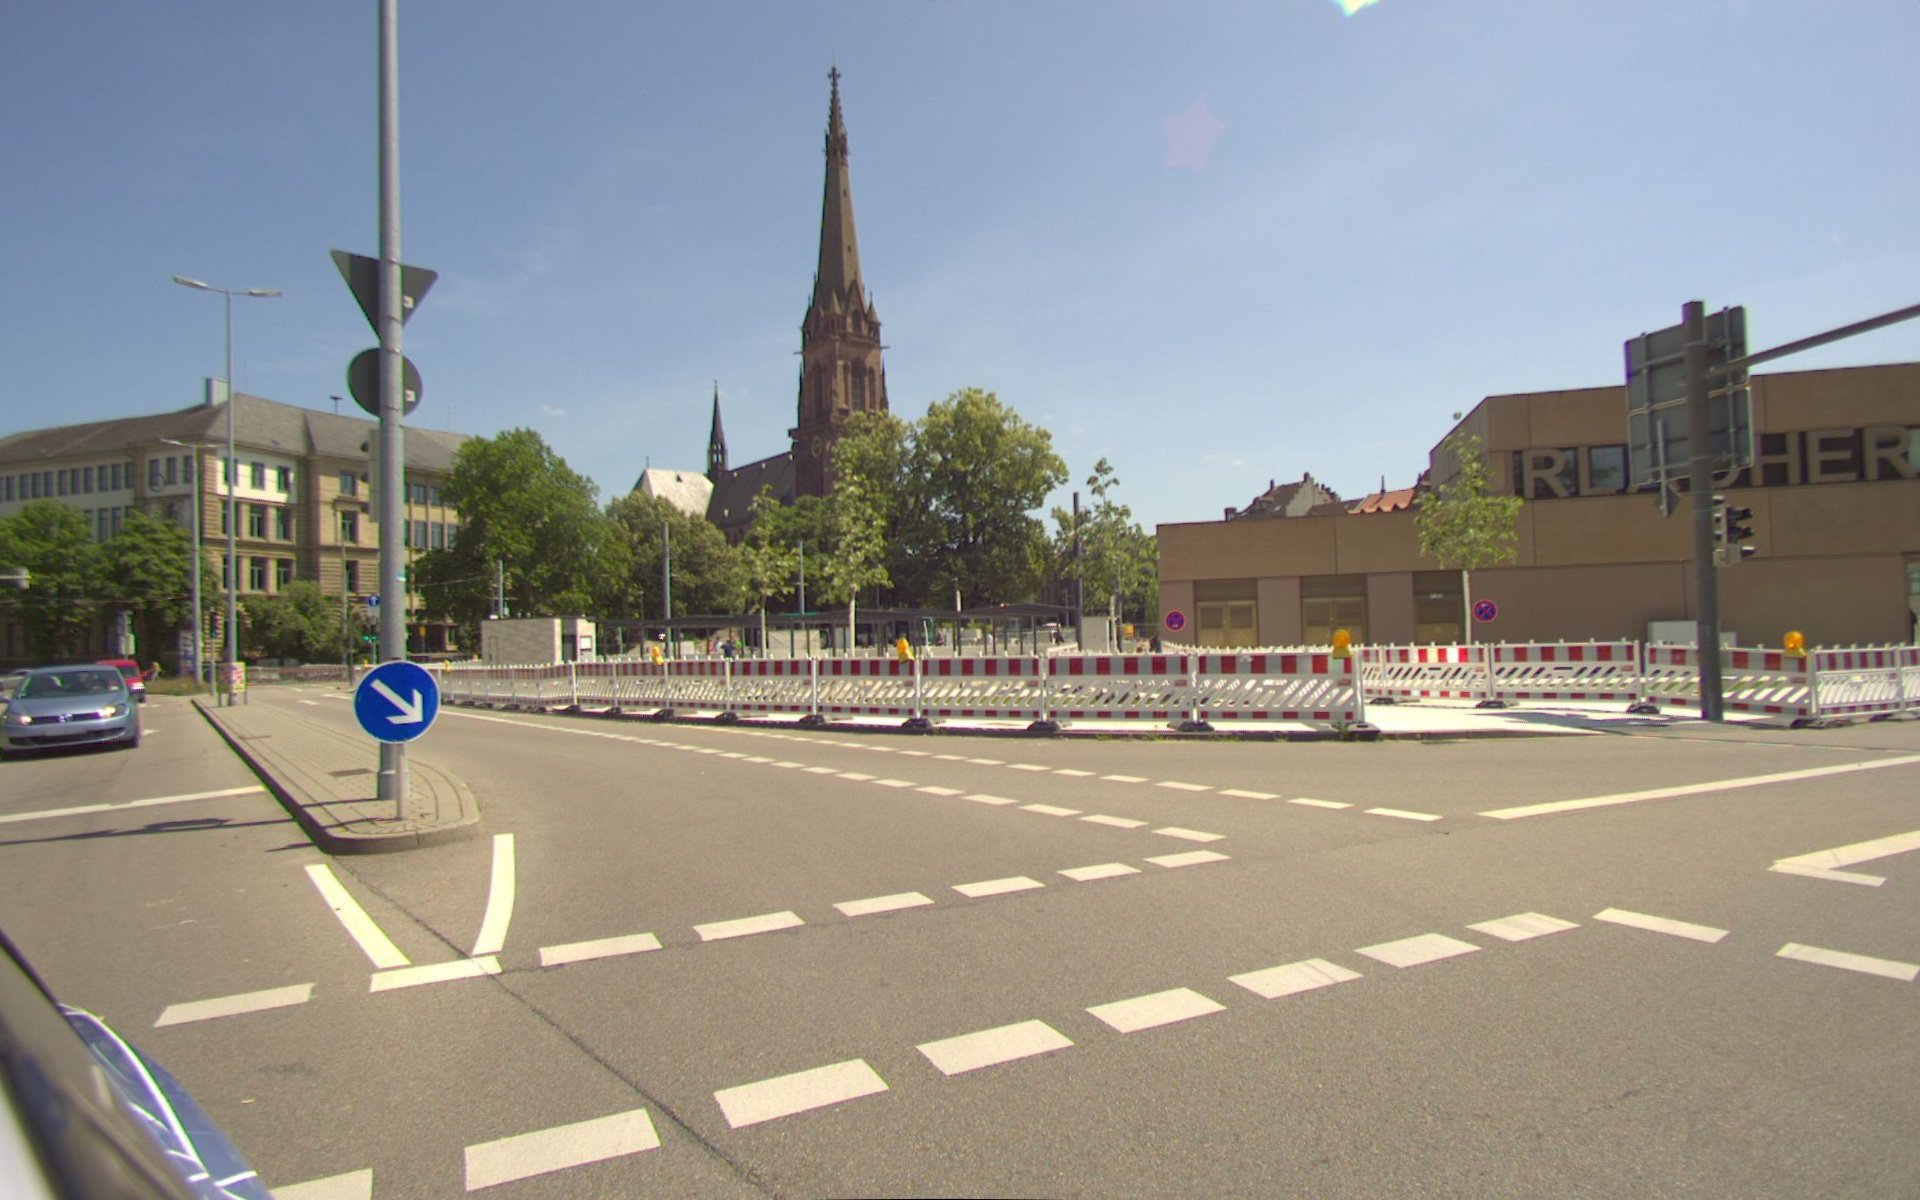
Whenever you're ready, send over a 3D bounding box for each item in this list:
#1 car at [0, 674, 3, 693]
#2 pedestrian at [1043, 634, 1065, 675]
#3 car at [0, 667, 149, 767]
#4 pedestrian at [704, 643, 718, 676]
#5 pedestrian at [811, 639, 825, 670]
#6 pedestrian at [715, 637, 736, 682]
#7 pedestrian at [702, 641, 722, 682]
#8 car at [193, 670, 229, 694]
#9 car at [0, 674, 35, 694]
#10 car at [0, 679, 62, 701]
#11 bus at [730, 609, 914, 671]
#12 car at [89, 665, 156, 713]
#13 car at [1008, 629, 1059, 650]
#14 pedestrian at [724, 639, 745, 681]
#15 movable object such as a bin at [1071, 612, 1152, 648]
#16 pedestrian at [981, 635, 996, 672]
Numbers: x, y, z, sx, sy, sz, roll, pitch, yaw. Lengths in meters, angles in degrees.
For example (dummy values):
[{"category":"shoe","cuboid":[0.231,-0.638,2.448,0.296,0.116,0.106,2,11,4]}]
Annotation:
[{"category":"car","cuboid":[-79.893,6.913,82.117,1.549,1.474,3.151,-3,-1,-1]},{"category":"pedestrian","cuboid":[4.786,2.769,51.390,0.872,2.029,0.692,-4,-1,21]},{"category":"car","cuboid":[-15.159,1.909,17.449,1.804,1.425,4.002,0,-3,-38]},{"category":"pedestrian","cuboid":[-13.720,3.278,55.842,0.557,1.714,0.581,-3,-1,-3]},{"category":"pedestrian","cuboid":[-7.811,3.003,55.785,0.515,1.632,0.535,-4,-1,12]},{"category":"pedestrian","cuboid":[-10.280,2.596,44.407,0.571,1.920,0.689,-4,-1,15]},{"category":"pedestrian","cuboid":[-11.172,2.768,45.662,0.651,1.769,0.539,-3,-1,7]},{"category":"car","cuboid":[-46.295,5.019,62.520,1.666,1.388,4.021,2,-4,-38]},{"category":"car","cuboid":[-77.478,6.875,82.136,1.550,1.431,3.552,-3,-1,0]},{"category":"car","cuboid":[-64.255,6.173,69.521,4.390,1.439,1.810,-2,-4,18]},{"category":"bus","cuboid":[-8.221,2.380,59.928,10.516,3.076,2.839,-4,-1,18]},{"category":"car","cuboid":[-35.448,3.721,42.918,1.804,1.779,4.289,-3,-1,-36]},{"category":"car","cuboid":[6.485,3.462,89.627,4.238,1.614,1.761,-4,-1,37]},{"category":"pedestrian","cuboid":[-10.132,2.702,45.524,0.632,1.802,0.642,-4,-1,16]},{"category":"movable object such as a bin","cuboid":[16.167,3.257,108.048,7.958,3.414,2.874,-4,-1,36]},{"category":"pedestrian","cuboid":[1.515,2.809,53.445,0.600,1.871,0.696,-4,-1,12]}]
